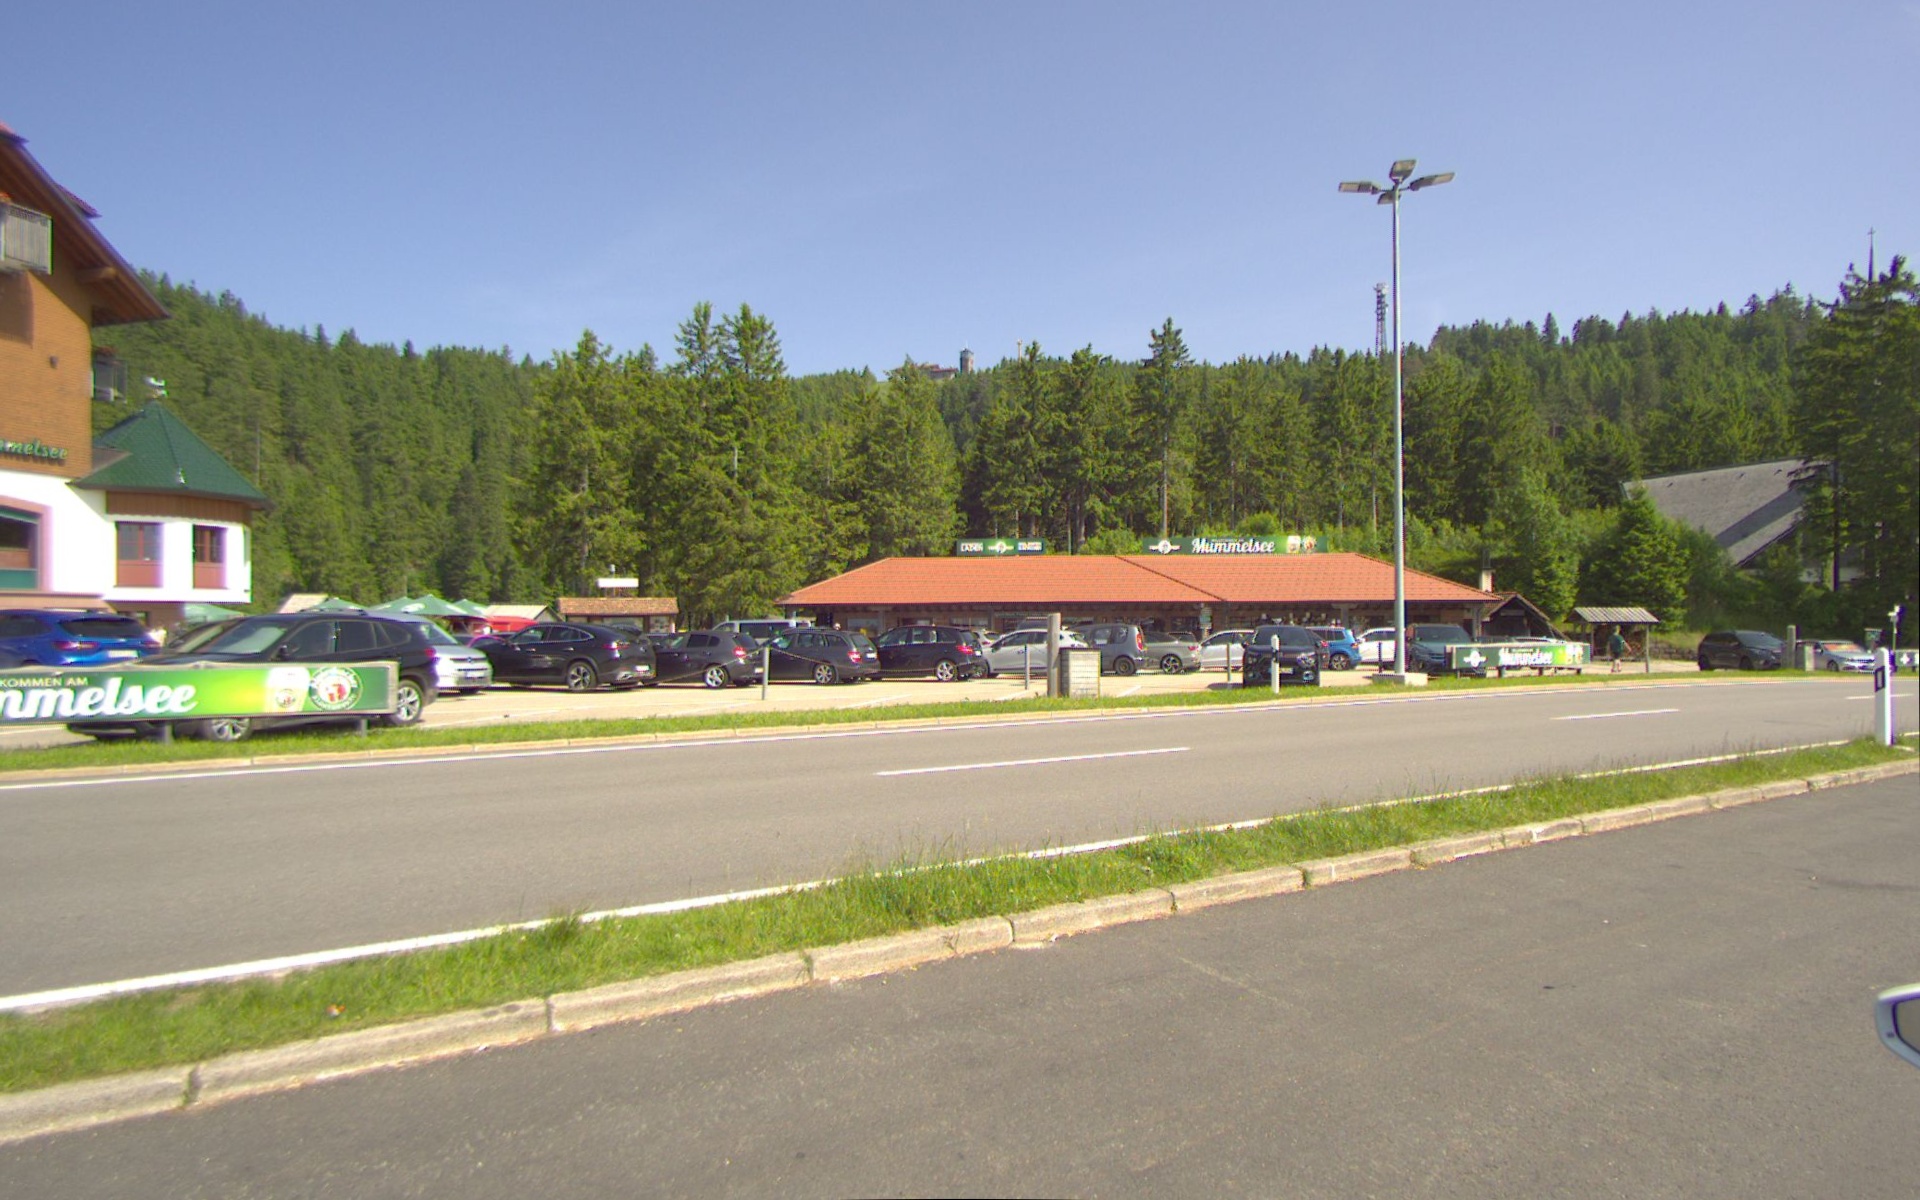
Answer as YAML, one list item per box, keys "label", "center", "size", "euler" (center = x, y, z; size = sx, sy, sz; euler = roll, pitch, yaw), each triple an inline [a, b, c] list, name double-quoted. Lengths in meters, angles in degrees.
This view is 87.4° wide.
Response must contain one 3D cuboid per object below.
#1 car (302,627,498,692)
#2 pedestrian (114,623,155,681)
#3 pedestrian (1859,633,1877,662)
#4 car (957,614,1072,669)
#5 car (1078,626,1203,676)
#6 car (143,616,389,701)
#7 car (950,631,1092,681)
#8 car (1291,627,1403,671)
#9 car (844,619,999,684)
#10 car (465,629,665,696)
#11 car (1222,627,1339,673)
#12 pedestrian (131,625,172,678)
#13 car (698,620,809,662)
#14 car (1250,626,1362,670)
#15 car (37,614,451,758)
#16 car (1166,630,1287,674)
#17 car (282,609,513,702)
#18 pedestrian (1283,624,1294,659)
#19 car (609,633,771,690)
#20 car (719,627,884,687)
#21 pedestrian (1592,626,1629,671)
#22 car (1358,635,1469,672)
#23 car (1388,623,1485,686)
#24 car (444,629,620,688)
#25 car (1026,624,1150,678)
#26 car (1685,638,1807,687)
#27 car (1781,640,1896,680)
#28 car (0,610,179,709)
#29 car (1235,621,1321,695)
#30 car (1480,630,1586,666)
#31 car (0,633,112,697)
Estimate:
- label: "car"
  center: [-13.816, 1.459, 24.890]
  size: [3.919, 1.502, 1.937]
  euler: [-1, -2, 12]
- label: "pedestrian"
  center: [-23.992, 1.494, 29.189]
  size: [0.614, 1.654, 0.702]
  euler: [-1, -1, 22]
- label: "pedestrian"
  center: [48.731, 2.533, 53.913]
  size: [0.546, 1.553, 0.574]
  euler: [0, -1, -31]
- label: "car"
  center: [2.037, 1.523, 36.923]
  size: [3.919, 1.929, 2.002]
  euler: [-1, -2, 12]
- label: "car"
  center: [6.039, 1.689, 33.432]
  size: [3.920, 1.565, 1.900]
  euler: [-1, -1, 16]
- label: "car"
  center: [-13.766, 1.145, 20.011]
  size: [3.920, 1.566, 2.001]
  euler: [-1, -1, 16]
- label: "car"
  center: [1.830, 1.659, 29.818]
  size: [3.919, 1.389, 1.813]
  euler: [-1, -1, 14]
- label: "car"
  center: [15.454, 1.964, 40.319]
  size: [3.949, 1.693, 1.778]
  euler: [-1, -3, 13]
- label: "car"
  center: [-1.066, 1.421, 28.159]
  size: [3.921, 1.726, 1.826]
  euler: [-1, -1, 20]
- label: "car"
  center: [-9.120, 1.420, 23.307]
  size: [3.919, 1.449, 1.915]
  euler: [-1, -1, 14]
- label: "car"
  center: [11.580, 1.807, 36.522]
  size: [3.919, 1.594, 2.001]
  euler: [-1, -2, 15]
- label: "pedestrian"
  center: [-23.341, 1.480, 29.000]
  size: [0.614, 1.509, 0.702]
  euler: [-1, -1, 22]
- label: "car"
  center: [-8.031, 1.599, 39.164]
  size: [3.802, 1.550, 1.912]
  euler: [-1, -1, 12]
- label: "car"
  center: [13.216, 1.839, 38.604]
  size: [3.919, 1.594, 2.001]
  euler: [-1, -2, 14]
- label: "car"
  center: [-9.010, 0.997, 13.140]
  size: [1.772, 1.560, 4.194]
  euler: [-1, -2, 17]
- label: "car"
  center: [9.195, 1.789, 34.754]
  size: [3.919, 1.439, 1.909]
  euler: [-1, -2, 15]
- label: "car"
  center: [-12.227, 1.195, 21.880]
  size: [4.440, 1.888, 1.836]
  euler: [-1, -1, 17]
- label: "pedestrian"
  center: [17.832, 2.244, 54.508]
  size: [0.517, 1.898, 0.547]
  euler: [1, -1, 12]
- label: "car"
  center: [-6.725, 1.525, 25.121]
  size: [3.565, 1.339, 1.589]
  euler: [-1, -1, 12]
- label: "car"
  center: [-4.205, 1.501, 26.809]
  size: [3.997, 1.505, 1.717]
  euler: [-1, -1, 14]
- label: "pedestrian"
  center: [26.001, 1.944, 40.174]
  size: [0.949, 1.757, 0.892]
  euler: [0, -1, -31]
- label: "car"
  center: [18.899, 2.252, 42.010]
  size: [3.944, 1.487, 1.778]
  euler: [-1, -3, 13]
- label: "car"
  center: [13.033, 1.432, 27.671]
  size: [1.705, 1.588, 4.062]
  euler: [0, -1, 15]
- label: "car"
  center: [-11.340, 1.541, 26.725]
  size: [3.919, 1.502, 1.937]
  euler: [-1, -2, 12]
- label: "car"
  center: [4.066, 1.597, 31.660]
  size: [3.657, 1.609, 1.736]
  euler: [-1, -1, 15]
- label: "car"
  center: [29.333, 2.301, 37.639]
  size: [1.753, 1.655, 4.214]
  euler: [1, -2, 9]
- label: "car"
  center: [34.857, 2.353, 39.995]
  size: [1.708, 1.460, 3.973]
  euler: [-1, -2, 13]
- label: "car"
  center: [-17.287, 1.046, 18.730]
  size: [4.453, 1.686, 1.941]
  euler: [0, -1, 14]
- label: "car"
  center: [7.566, 1.296, 23.721]
  size: [1.748, 1.572, 4.000]
  euler: [-1, -1, 20]
- label: "car"
  center: [26.830, 2.253, 47.154]
  size: [3.920, 1.639, 2.001]
  euler: [-1, -1, 16]
- label: "car"
  center: [-20.673, 1.374, 21.193]
  size: [1.679, 1.314, 4.002]
  euler: [-1, -2, 16]
